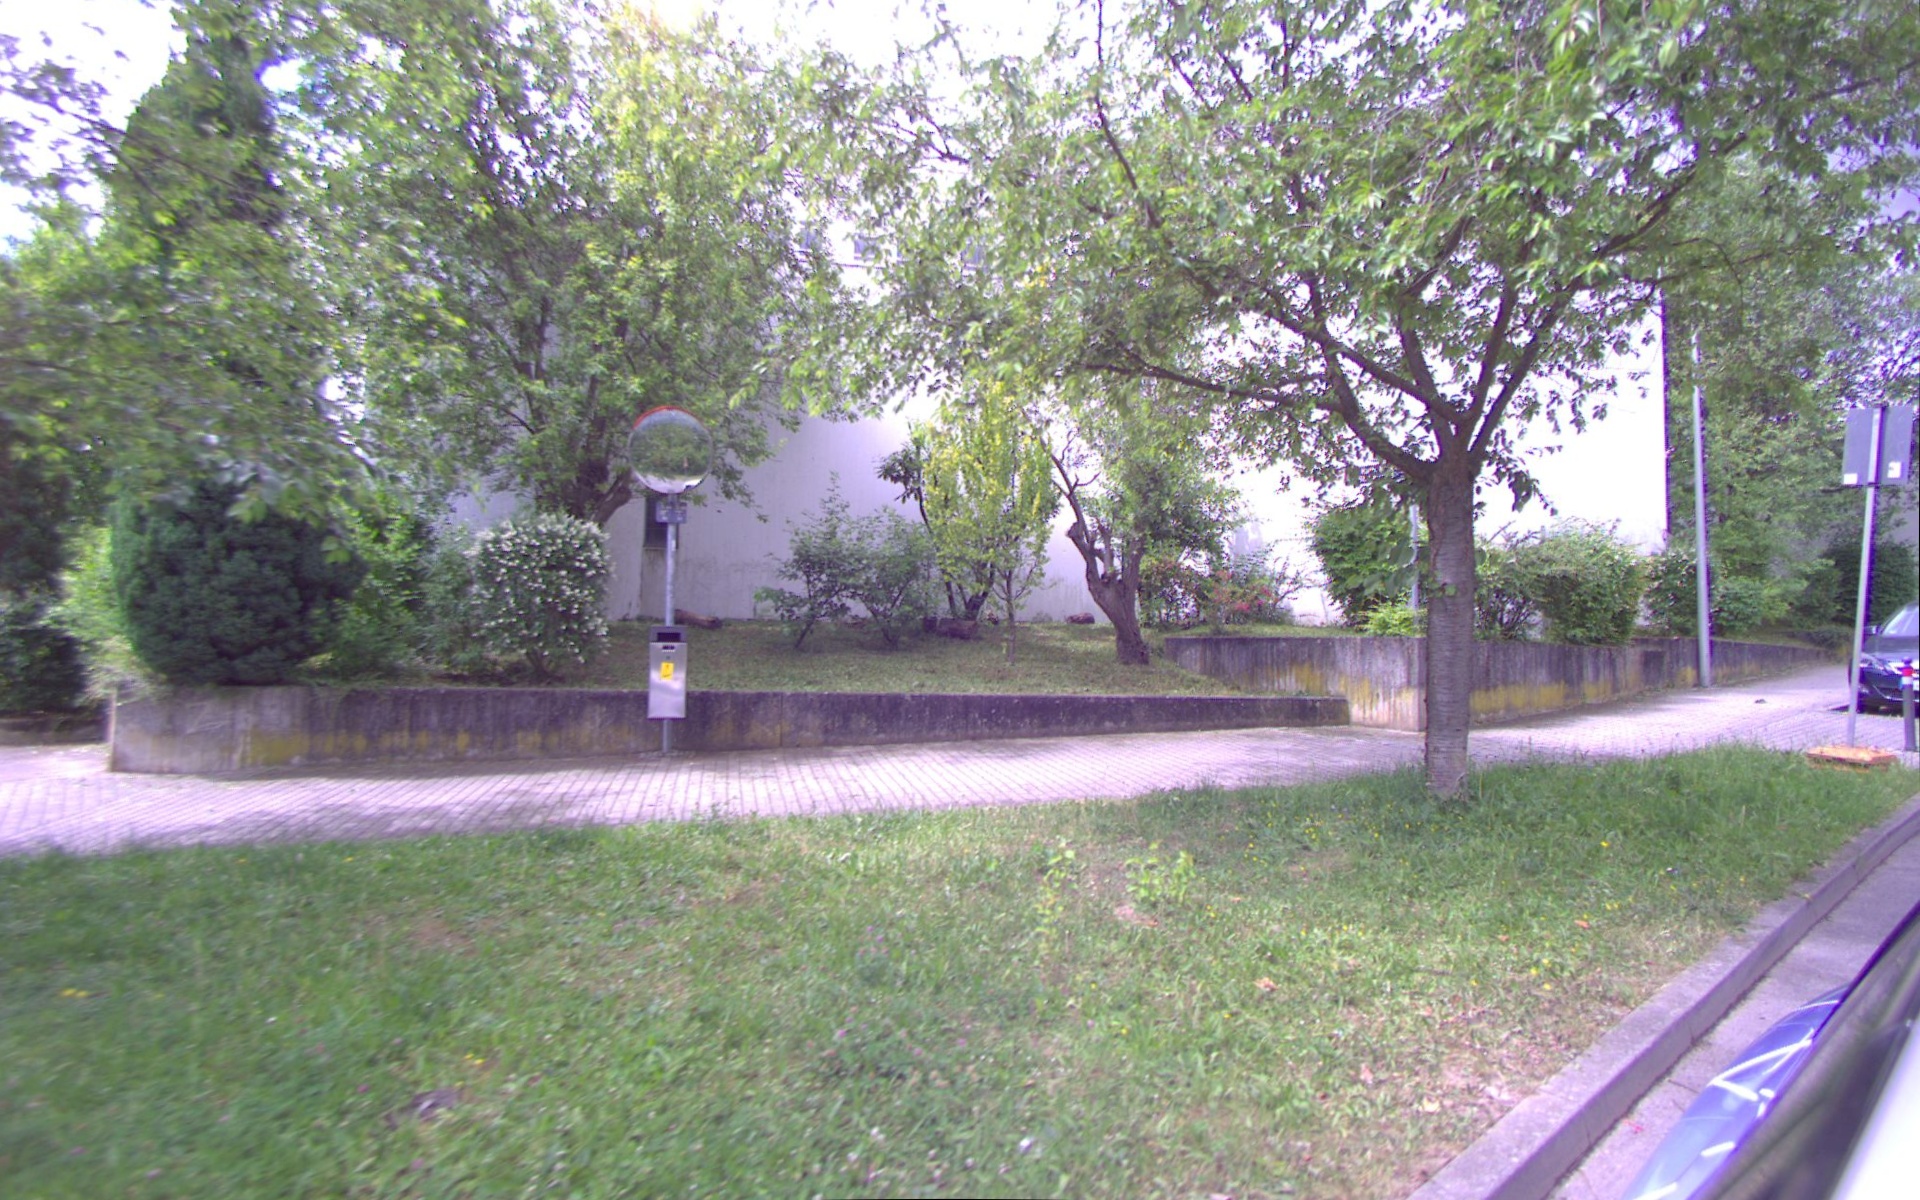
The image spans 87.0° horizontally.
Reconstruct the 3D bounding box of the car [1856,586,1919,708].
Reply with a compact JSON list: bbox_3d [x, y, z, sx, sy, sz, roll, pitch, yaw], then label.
[{"bbox_3d":[13.049,0.538,12.862,3.925,1.438,1.696,0,0,-36],"label":"car"}]
